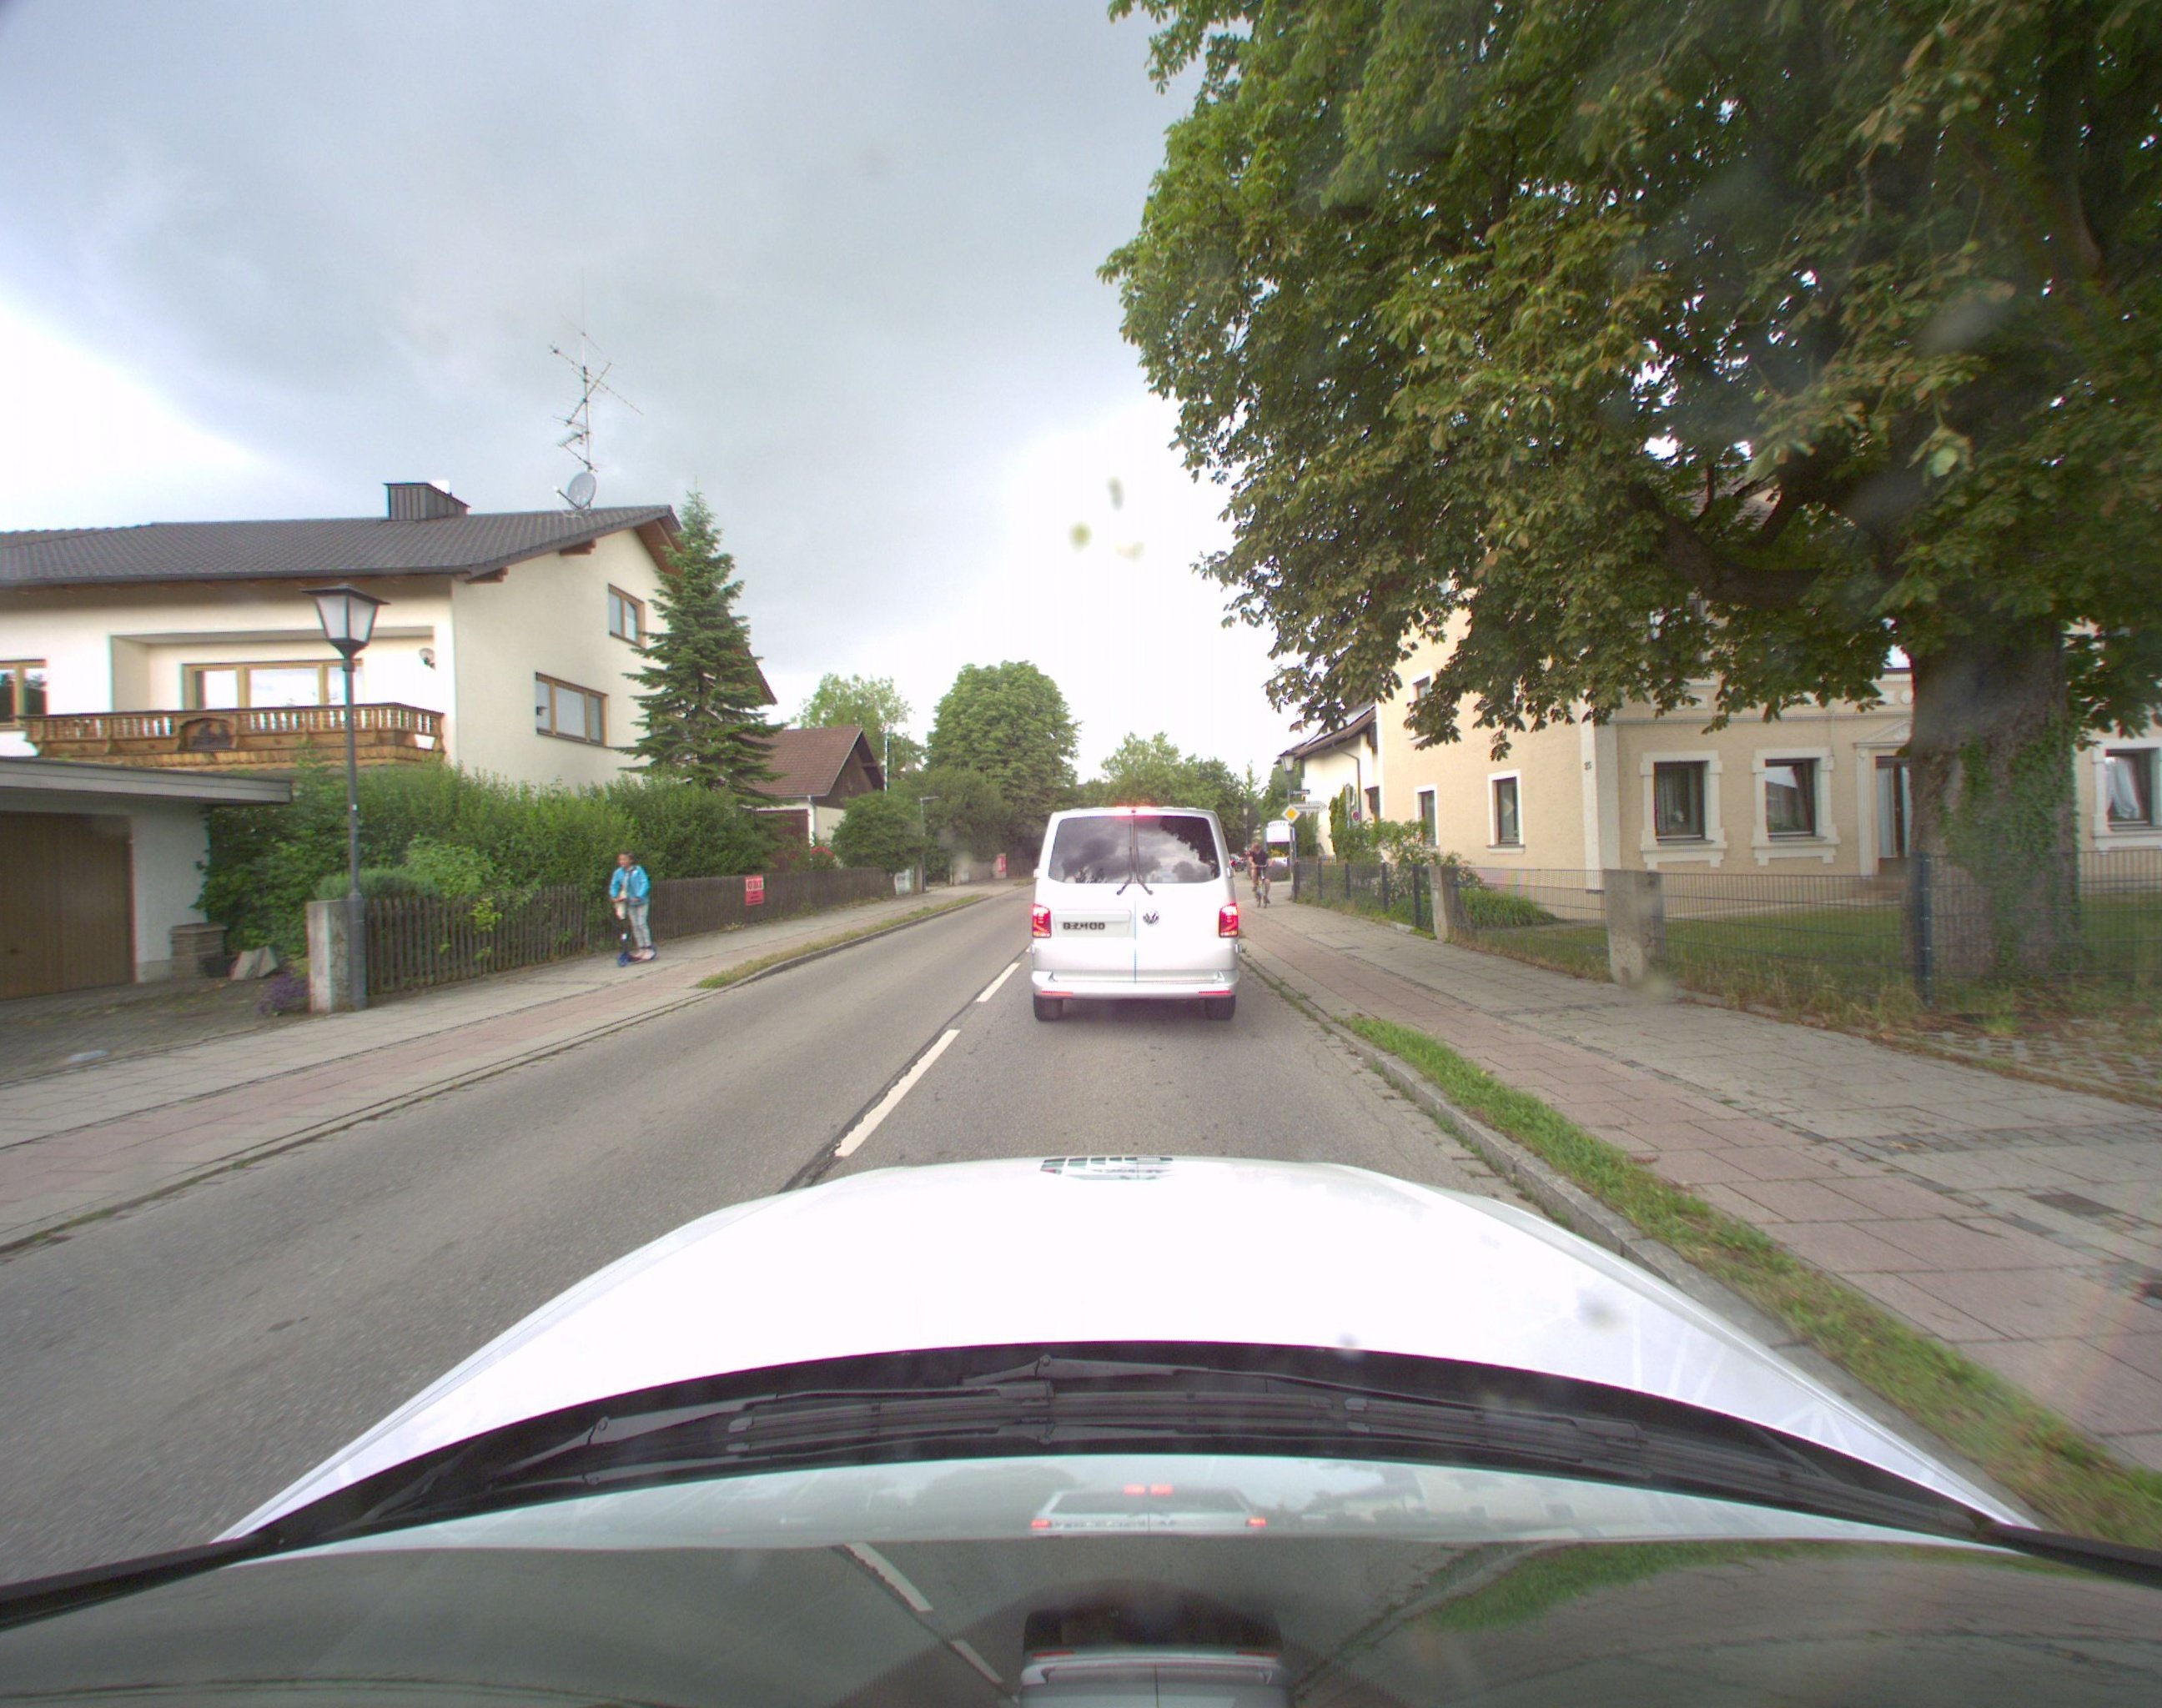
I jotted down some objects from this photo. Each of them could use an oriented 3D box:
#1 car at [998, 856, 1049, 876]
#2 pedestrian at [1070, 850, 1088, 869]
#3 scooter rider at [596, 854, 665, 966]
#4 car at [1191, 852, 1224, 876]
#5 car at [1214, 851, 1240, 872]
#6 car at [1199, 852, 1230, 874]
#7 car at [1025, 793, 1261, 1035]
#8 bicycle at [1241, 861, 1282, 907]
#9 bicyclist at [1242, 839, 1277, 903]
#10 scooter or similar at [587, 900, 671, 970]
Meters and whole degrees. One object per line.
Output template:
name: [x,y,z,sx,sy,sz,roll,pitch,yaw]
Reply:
car: [-4.613,0.949,65.218,3.982,1.486,1.996,-1,0,-6]
pedestrian: [-0.203,0.501,76.332,1.329,1.803,1.057,-1,0,-38]
scooter rider: [-6.208,0.744,11.249,0.500,1.489,0.717,-1,0,3]
car: [8.874,0.672,57.069,1.868,1.535,3.936,-1,0,14]
car: [12.543,0.605,69.871,1.867,1.748,4.096,-2,0,15]
car: [10.393,0.679,63.013,1.867,1.535,3.937,-1,0,16]
car: [0.606,0.499,8.634,1.873,1.940,3.923,-2,0,3]
bicycle: [4.689,0.754,21.299,0.761,1.143,1.847,-1,0,4]
bicyclist: [4.656,0.436,21.325,0.733,1.633,0.891,-1,0,3]
scooter or similar: [-6.212,1.097,11.251,0.519,0.850,1.062,-1,0,3]
